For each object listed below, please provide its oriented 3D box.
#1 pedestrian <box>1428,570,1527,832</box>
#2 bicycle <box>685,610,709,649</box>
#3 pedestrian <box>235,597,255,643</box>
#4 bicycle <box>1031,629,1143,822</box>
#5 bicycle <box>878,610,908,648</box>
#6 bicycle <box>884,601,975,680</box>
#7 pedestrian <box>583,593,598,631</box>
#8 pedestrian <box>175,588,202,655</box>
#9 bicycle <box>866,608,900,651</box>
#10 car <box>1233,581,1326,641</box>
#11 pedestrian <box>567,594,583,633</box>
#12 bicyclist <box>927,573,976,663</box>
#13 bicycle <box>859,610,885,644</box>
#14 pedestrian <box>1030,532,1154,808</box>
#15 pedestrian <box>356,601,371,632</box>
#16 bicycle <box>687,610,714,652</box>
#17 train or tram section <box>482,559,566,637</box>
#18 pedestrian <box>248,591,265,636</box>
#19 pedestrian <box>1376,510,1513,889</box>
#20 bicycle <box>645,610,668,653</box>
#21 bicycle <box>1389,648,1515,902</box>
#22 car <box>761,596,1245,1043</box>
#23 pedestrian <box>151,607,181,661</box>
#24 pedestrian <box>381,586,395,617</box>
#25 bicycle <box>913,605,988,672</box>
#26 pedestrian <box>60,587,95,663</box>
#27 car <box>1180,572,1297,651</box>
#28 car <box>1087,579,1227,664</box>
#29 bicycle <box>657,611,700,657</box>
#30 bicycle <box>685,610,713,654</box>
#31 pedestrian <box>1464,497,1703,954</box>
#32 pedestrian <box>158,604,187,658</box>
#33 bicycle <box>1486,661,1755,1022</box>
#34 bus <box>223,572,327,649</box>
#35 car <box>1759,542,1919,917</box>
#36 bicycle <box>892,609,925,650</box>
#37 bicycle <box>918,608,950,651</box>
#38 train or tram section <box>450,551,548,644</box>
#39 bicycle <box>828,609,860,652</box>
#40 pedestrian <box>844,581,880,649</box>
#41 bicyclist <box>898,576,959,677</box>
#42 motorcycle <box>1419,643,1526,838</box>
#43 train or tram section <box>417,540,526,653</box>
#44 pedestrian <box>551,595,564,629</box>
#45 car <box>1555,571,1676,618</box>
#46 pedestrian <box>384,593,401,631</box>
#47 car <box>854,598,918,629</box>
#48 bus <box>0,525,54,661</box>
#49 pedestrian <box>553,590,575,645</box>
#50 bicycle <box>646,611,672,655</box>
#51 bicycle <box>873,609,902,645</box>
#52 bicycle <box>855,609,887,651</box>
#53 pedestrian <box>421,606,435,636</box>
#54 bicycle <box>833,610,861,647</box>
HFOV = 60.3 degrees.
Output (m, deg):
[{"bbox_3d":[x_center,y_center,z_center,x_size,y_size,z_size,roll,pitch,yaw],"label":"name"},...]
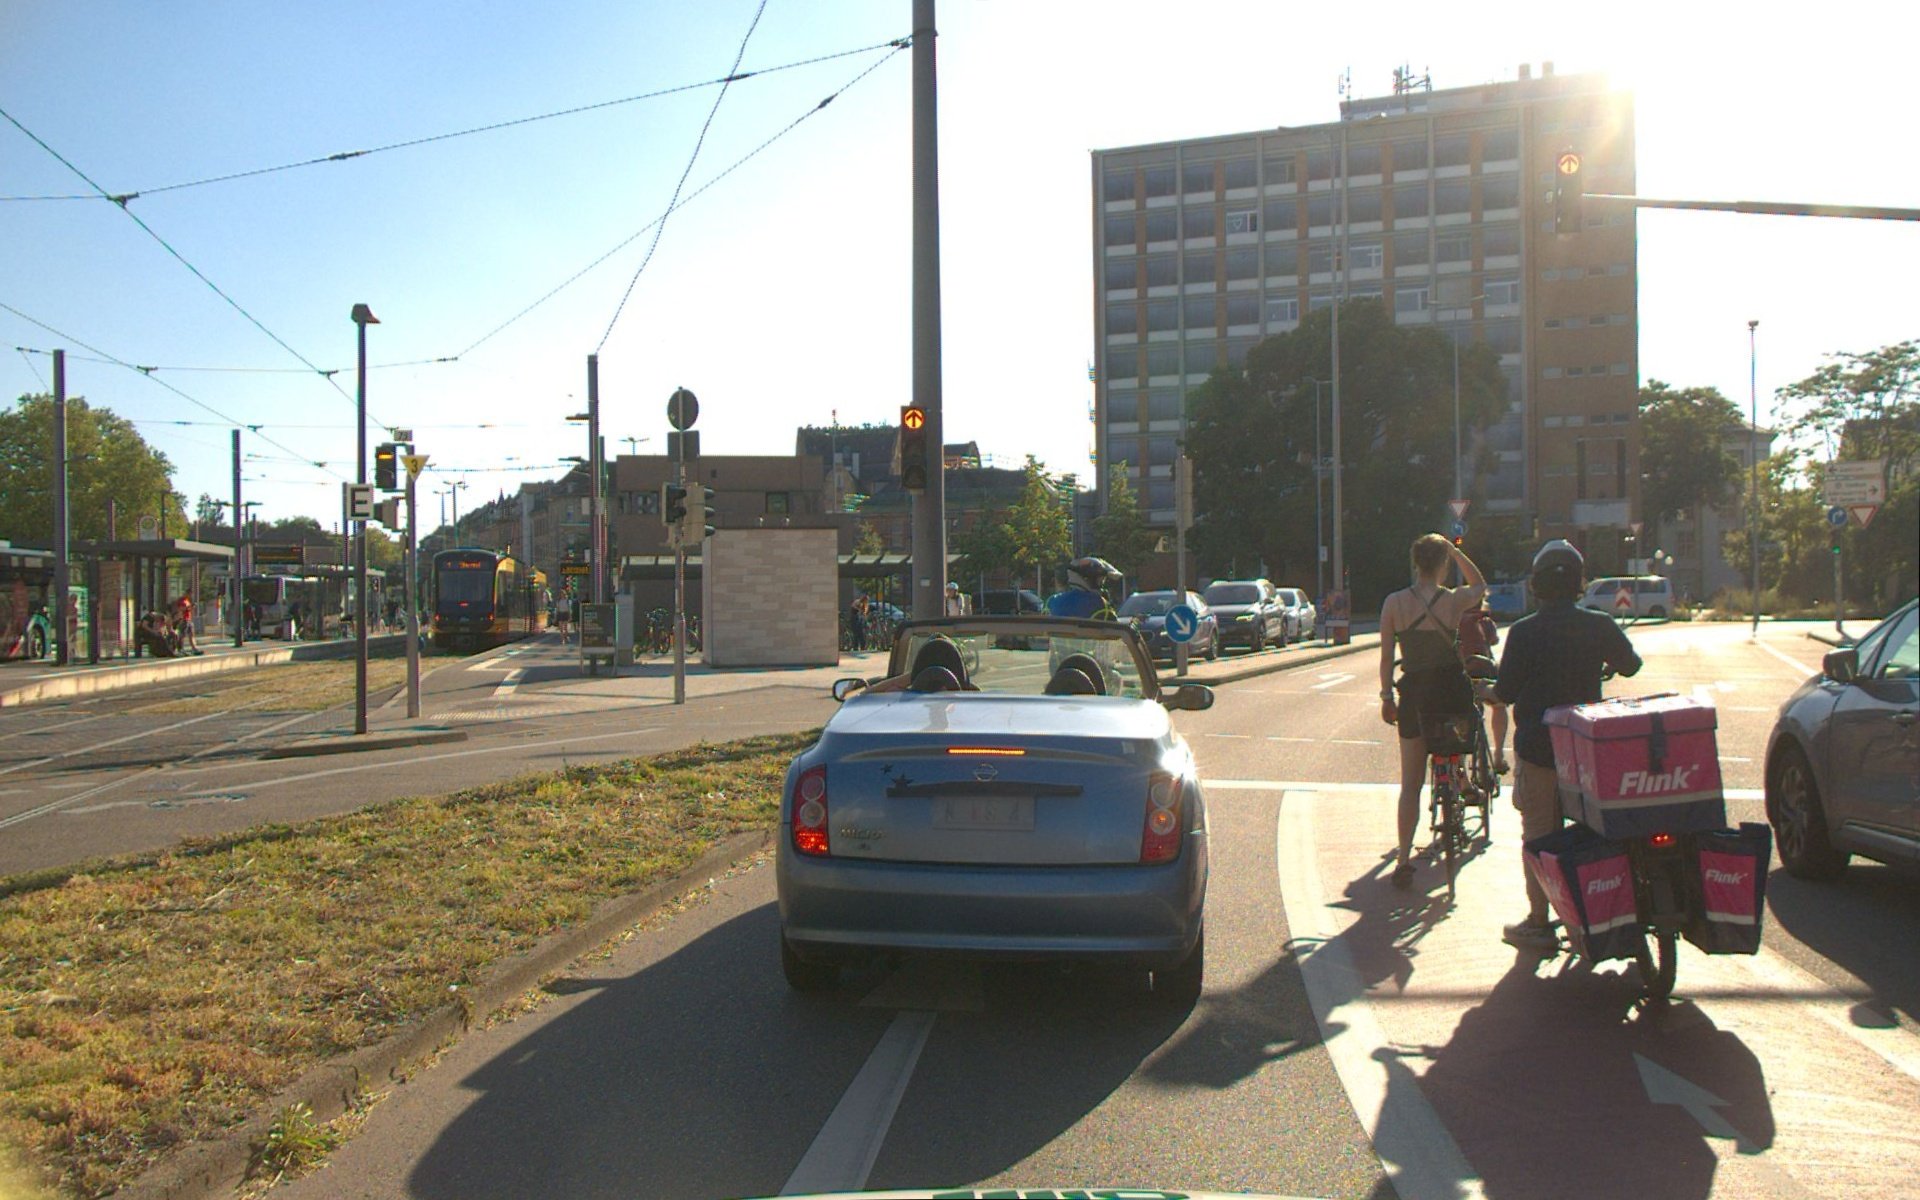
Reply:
[{"bbox_3d":[3.381,0.630,10.849,0.575,1.626,1.025,1,-1,16],"label":"pedestrian"},{"bbox_3d":[-7.979,0.893,50.197,0.596,1.134,1.890,1,0,-13],"label":"bicycle"},{"bbox_3d":[-27.509,0.765,63.647,0.630,1.779,0.567,-1,0,-27],"label":"pedestrian"},{"bbox_3d":[0.952,0.830,11.897,0.595,1.212,2.416,1,0,9],"label":"bicycle"},{"bbox_3d":[-2.088,0.886,51.220,0.596,1.134,1.890,1,0,-13],"label":"bicycle"},{"bbox_3d":[-0.505,0.676,28.828,0.660,1.272,2.457,-3,-1,21],"label":"bicycle"},{"bbox_3d":[-17.432,0.548,78.016,0.628,1.779,0.732,-1,0,-19],"label":"pedestrian"},{"bbox_3d":[-20.707,0.582,44.405,0.561,1.779,0.637,-1,0,-17],"label":"pedestrian"},{"bbox_3d":[-2.111,0.783,45.213,0.596,1.134,1.890,1,0,-13],"label":"bicycle"},{"bbox_3d":[9.012,0.281,46.456,1.661,1.588,3.977,-1,0,25],"label":"car"},{"bbox_3d":[-18.015,0.637,77.463,0.628,1.779,0.732,-1,0,-19],"label":"pedestrian"},{"bbox_3d":[-0.156,0.348,31.473,0.694,1.686,0.743,-1,0,21],"label":"bicyclist"},{"bbox_3d":[-3.020,0.911,56.683,0.596,1.134,1.890,1,0,-13],"label":"bicycle"},{"bbox_3d":[0.968,0.485,11.965,0.815,1.901,0.921,1,-1,8],"label":"pedestrian"},{"bbox_3d":[-35.365,0.969,98.074,0.720,1.779,0.638,-1,0,-8],"label":"pedestrian"},{"bbox_3d":[-7.279,0.862,46.333,0.596,1.134,1.890,1,0,-13],"label":"bicycle"},{"bbox_3d":[-22.045,-0.068,84.256,2.984,3.659,12.024,1,0,-10],"label":"train or tram section"},{"bbox_3d":[-28.099,0.549,66.067,0.562,1.779,0.636,-1,0,-20],"label":"pedestrian"},{"bbox_3d":[2.559,0.499,8.809,0.645,1.901,0.873,1,-1,14],"label":"pedestrian"},{"bbox_3d":[-8.424,0.861,45.847,0.596,1.134,1.891,1,0,-11],"label":"bicycle"},{"bbox_3d":[2.637,0.874,8.997,0.552,1.171,1.951,1,0,14],"label":"bicycle"},{"bbox_3d":[0.354,0.746,7.680,1.625,1.466,4.157,1,0,6],"label":"car"},{"bbox_3d":[-20.094,0.856,41.867,0.606,1.364,0.438,-1,0,-18],"label":"pedestrian"},{"bbox_3d":[-34.020,0.094,98.351,0.722,1.779,0.637,-1,0,-16],"label":"pedestrian"},{"bbox_3d":[-0.156,0.711,31.446,0.660,1.201,2.183,-1,0,21],"label":"bicycle"},{"bbox_3d":[-20.972,0.590,39.318,0.527,1.779,0.559,-1,0,-6],"label":"pedestrian"},{"bbox_3d":[6.755,0.255,39.817,1.726,1.736,4.529,-2,-1,23],"label":"car"},{"bbox_3d":[4.072,0.425,33.682,1.702,1.601,3.921,1,0,25],"label":"car"},{"bbox_3d":[-7.184,0.857,42.336,0.594,1.134,1.898,1,0,5],"label":"bicycle"},{"bbox_3d":[-6.989,0.844,44.275,0.596,1.134,1.890,1,0,-13],"label":"bicycle"},{"bbox_3d":[2.762,0.522,7.425,0.789,1.901,0.957,1,-1,8],"label":"pedestrian"},{"bbox_3d":[-20.252,0.803,42.547,0.561,1.369,0.637,-1,0,-17],"label":"pedestrian"},{"bbox_3d":[2.727,0.900,7.072,0.542,1.192,2.374,1,0,9],"label":"bicycle"},{"bbox_3d":[-32.734,0.467,79.553,2.675,3.331,13.413,1,0,-14],"label":"bus"},{"bbox_3d":[5.285,0.606,7.398,1.792,1.719,4.372,1,0,8],"label":"car"},{"bbox_3d":[-1.496,0.830,47.541,0.596,1.134,1.890,1,0,-13],"label":"bicycle"},{"bbox_3d":[-0.731,0.808,45.536,0.595,1.134,1.892,1,0,-10],"label":"bicycle"},{"bbox_3d":[-19.980,-0.083,72.361,2.957,3.659,12.169,1,0,-10],"label":"train or tram section"},{"bbox_3d":[-3.162,0.824,45.056,0.596,1.134,1.890,1,0,-13],"label":"bicycle"},{"bbox_3d":[-2.781,0.429,46.721,0.885,1.901,0.685,1,-1,-13],"label":"pedestrian"},{"bbox_3d":[-0.543,0.456,28.759,0.694,1.686,0.901,-3,-1,21],"label":"bicyclist"},{"bbox_3d":[3.419,0.873,11.111,0.600,1.117,2.361,1,0,16],"label":"motorcycle"},{"bbox_3d":[-17.646,-0.105,60.406,2.831,3.659,12.161,1,0,-12],"label":"train or tram section"},{"bbox_3d":[-21.789,0.649,89.578,0.593,1.779,0.830,-1,0,-8],"label":"pedestrian"},{"bbox_3d":[29.181,-0.233,73.722,4.595,1.979,1.914,-1,0,-1],"label":"car"},{"bbox_3d":[-26.279,0.555,76.595,0.630,1.779,0.567,-1,0,-27],"label":"pedestrian"},{"bbox_3d":[-3.984,0.741,88.610,1.629,1.588,3.549,-1,0,-39],"label":"car"},{"bbox_3d":[-23.562,-0.178,37.169,2.606,3.190,9.619,1,0,-10],"label":"bus"},{"bbox_3d":[-12.852,0.569,53.655,0.628,1.779,0.569,-1,0,-19],"label":"pedestrian"},{"bbox_3d":[-7.993,0.860,43.928,0.596,1.134,1.890,1,0,-13],"label":"bicycle"},{"bbox_3d":[-2.338,0.867,53.188,0.596,1.134,1.890,1,0,-13],"label":"bicycle"},{"bbox_3d":[-2.559,0.843,47.137,0.596,1.134,1.890,1,0,-13],"label":"bicycle"},{"bbox_3d":[-32.455,1.279,100.914,0.720,1.779,0.638,-1,0,-8],"label":"pedestrian"},{"bbox_3d":[-3.623,0.898,52.960,0.596,1.134,1.890,1,0,-13],"label":"bicycle"}]
